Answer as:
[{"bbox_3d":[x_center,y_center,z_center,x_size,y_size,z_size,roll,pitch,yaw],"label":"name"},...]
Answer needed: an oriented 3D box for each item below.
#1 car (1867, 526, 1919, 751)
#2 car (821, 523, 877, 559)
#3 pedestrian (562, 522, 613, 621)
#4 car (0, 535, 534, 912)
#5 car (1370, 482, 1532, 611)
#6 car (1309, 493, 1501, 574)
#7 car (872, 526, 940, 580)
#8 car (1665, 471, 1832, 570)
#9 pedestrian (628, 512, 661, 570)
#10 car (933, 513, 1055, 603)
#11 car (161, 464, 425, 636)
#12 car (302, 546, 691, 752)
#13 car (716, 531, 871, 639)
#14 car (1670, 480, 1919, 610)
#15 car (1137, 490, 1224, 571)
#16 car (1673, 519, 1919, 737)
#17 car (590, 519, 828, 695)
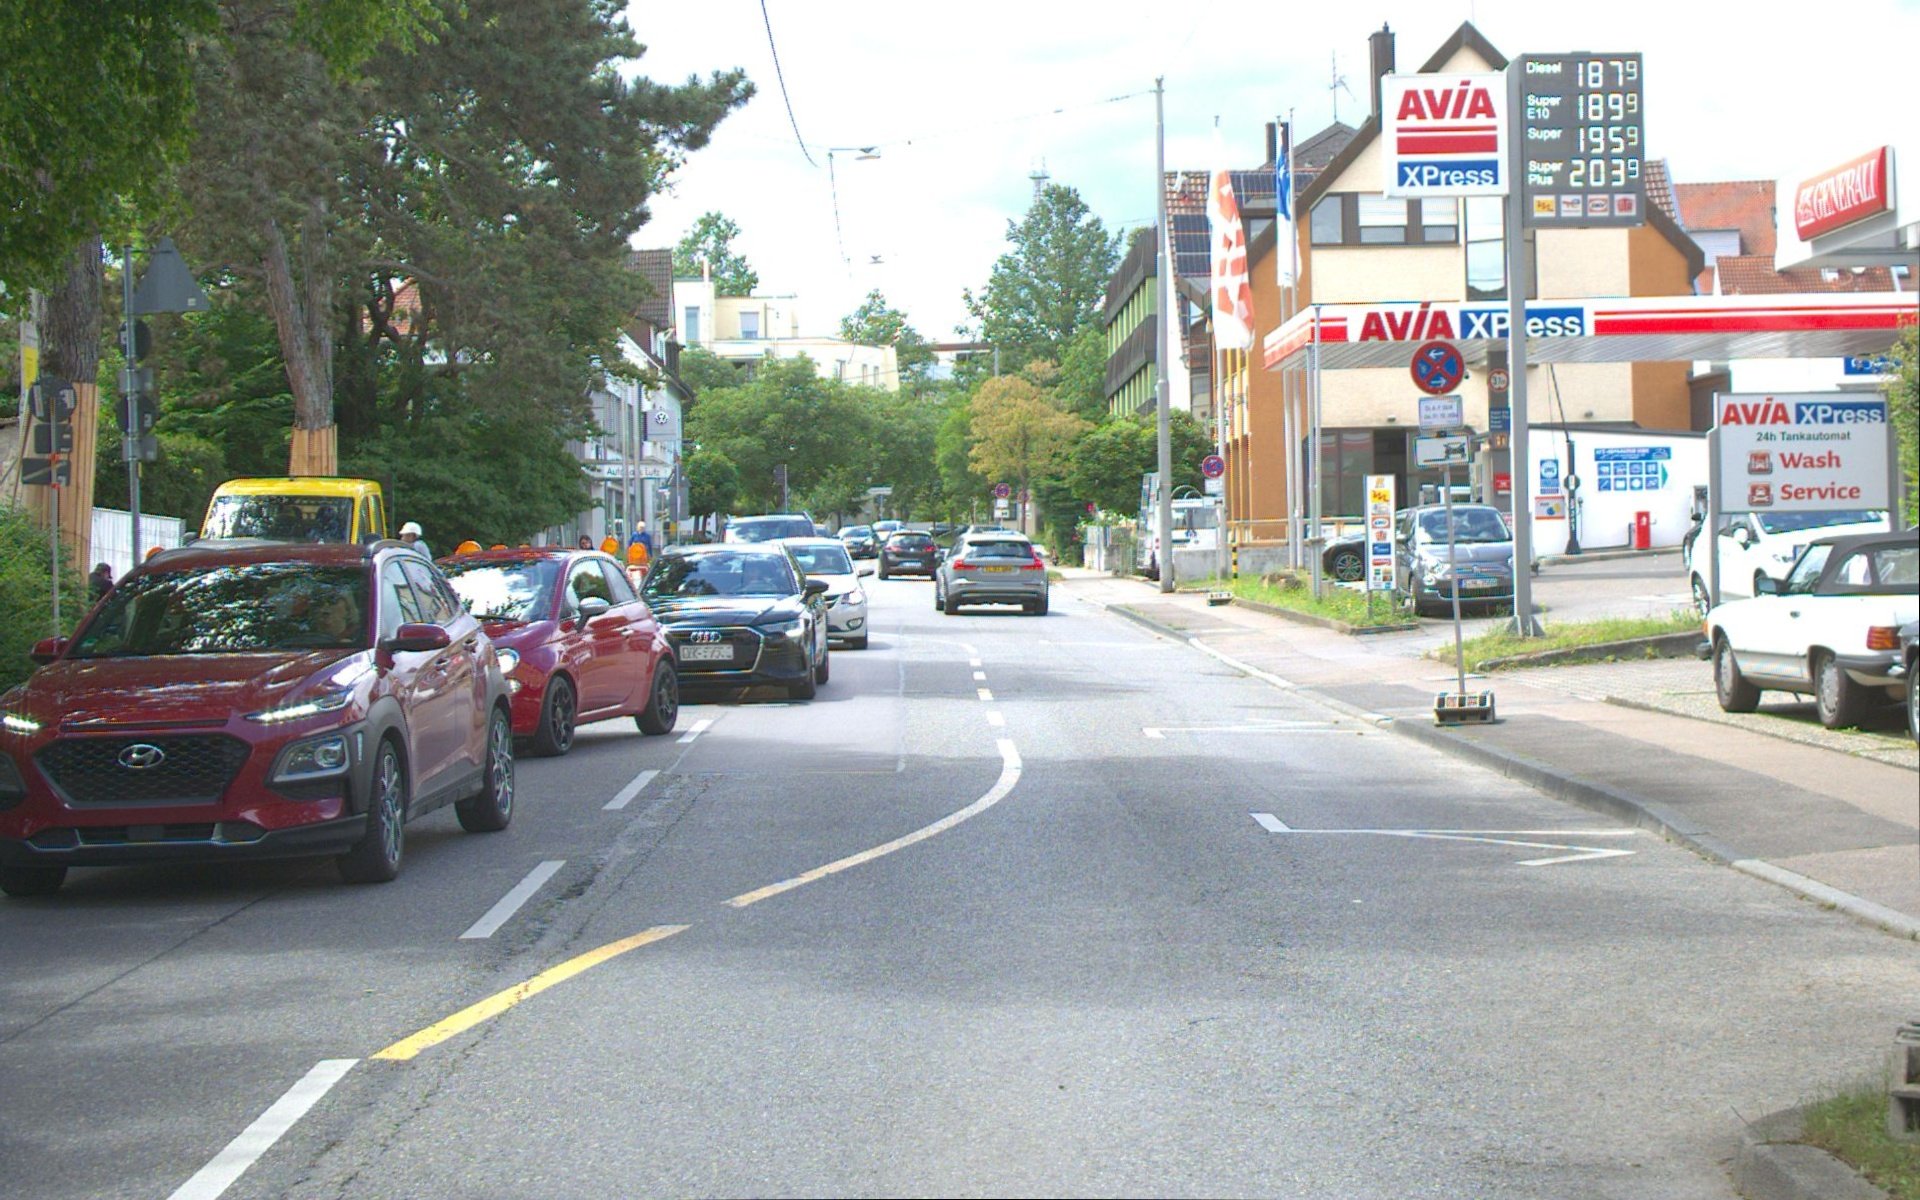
[{"bbox_3d":[6.532,0.250,18.990,1.724,1.312,4.267,0,1,-3],"label":"car"},{"bbox_3d":[-4.694,-2.523,145.947,2.111,1.495,4.267,-1,1,2],"label":"car"},{"bbox_3d":[-5.441,-0.414,50.229,0.704,1.434,0.714,0,0,-4],"label":"pedestrian"},{"bbox_3d":[-3.356,0.494,16.691,1.762,1.528,4.096,-2,1,4],"label":"car"},{"bbox_3d":[6.868,-0.771,48.391,1.784,1.629,3.692,-4,1,2],"label":"car"},{"bbox_3d":[9.484,-1.403,73.121,3.988,1.678,1.790,0,0,9],"label":"car"},{"bbox_3d":[-1.588,-1.376,99.214,1.816,1.495,4.267,1,1,-3],"label":"car"},{"bbox_3d":[14.252,-1.421,62.322,1.783,1.629,3.693,-4,1,-5],"label":"car"},{"bbox_3d":[-7.980,-1.491,86.970,0.704,1.434,0.713,0,0,3],"label":"pedestrian"},{"bbox_3d":[0.584,-0.792,62.978,1.976,1.508,4.267,3,1,-2],"label":"car"},{"bbox_3d":[-8.090,-0.596,42.193,2.146,1.974,4.930,0,0,2],"label":"car"},{"bbox_3d":[-3.358,0.328,25.516,1.692,1.420,3.435,0,0,14],"label":"car"},{"bbox_3d":[-2.204,-0.209,46.465,1.959,1.389,4.296,0,0,-1],"label":"car"},{"bbox_3d":[9.396,-0.623,38.254,1.841,1.351,4.070,-1,1,-5],"label":"car"},{"bbox_3d":[5.596,-1.748,87.470,1.993,2.007,4.000,0,0,1],"label":"car"},{"bbox_3d":[6.450,0.125,24.040,1.722,1.359,4.485,-1,1,-4],"label":"car"},{"bbox_3d":[-2.337,0.045,33.027,1.929,1.572,4.296,0,0,0],"label":"car"}]
